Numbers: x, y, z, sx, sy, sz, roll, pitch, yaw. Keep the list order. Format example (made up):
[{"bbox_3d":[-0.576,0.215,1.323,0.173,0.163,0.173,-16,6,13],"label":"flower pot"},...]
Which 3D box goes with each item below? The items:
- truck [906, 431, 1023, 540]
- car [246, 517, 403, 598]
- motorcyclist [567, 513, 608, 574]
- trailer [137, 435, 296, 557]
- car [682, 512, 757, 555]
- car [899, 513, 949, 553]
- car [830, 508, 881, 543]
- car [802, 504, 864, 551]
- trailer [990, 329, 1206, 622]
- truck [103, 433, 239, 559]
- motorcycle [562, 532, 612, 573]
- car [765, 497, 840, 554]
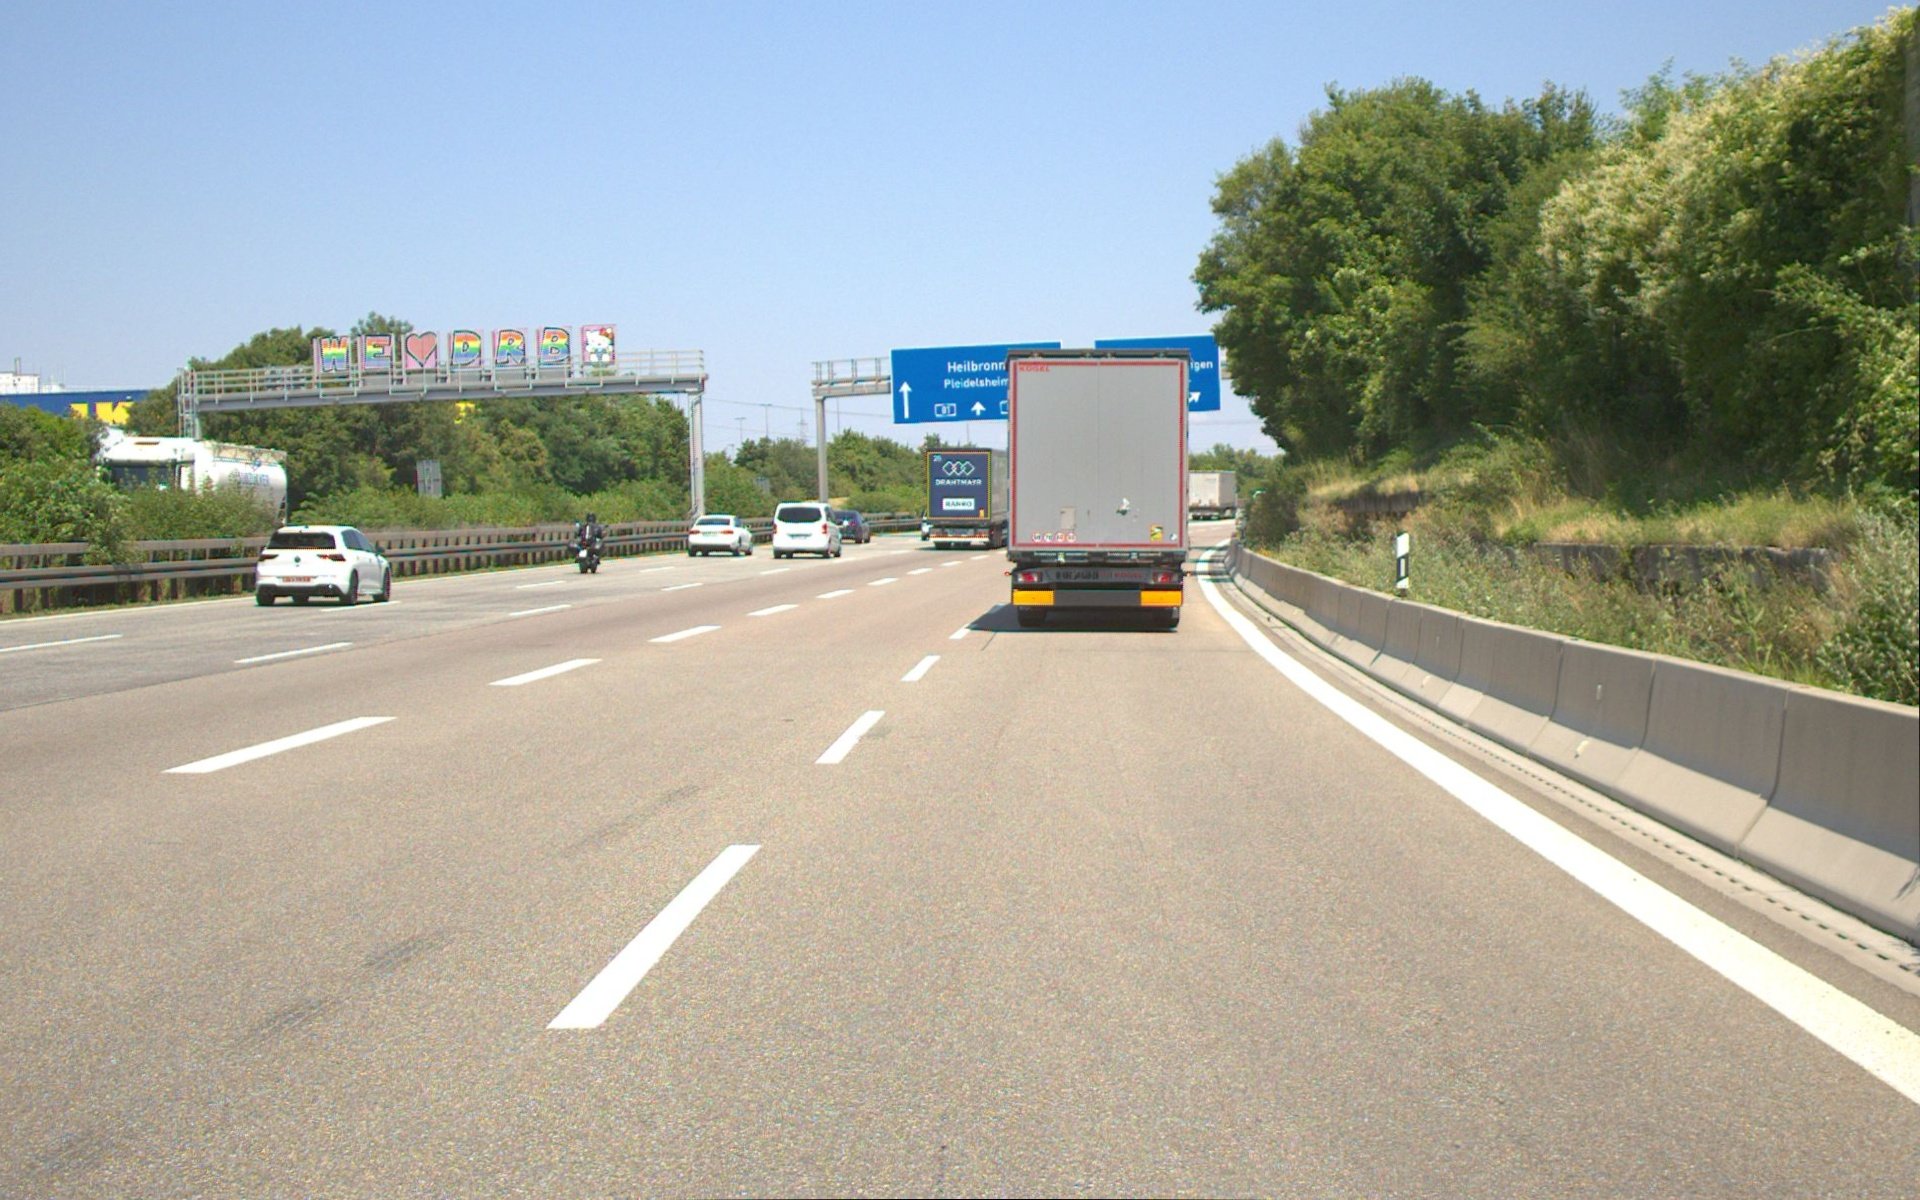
[{"bbox_3d":[0.317,-4.705,141.948,3.747,4.255,14.494,0,2,4],"label":"truck"},{"bbox_3d":[-11.649,-0.799,63.314,1.782,1.435,4.668,0,1,3],"label":"car"},{"bbox_3d":[-9.935,-1.507,91.754,0.893,1.591,1.299,0,0,3],"label":"motorcyclist"},{"bbox_3d":[-24.586,-3.430,114.195,2.690,3.875,9.734,0,2,3],"label":"trailer"},{"bbox_3d":[-8.414,-2.319,120.579,1.877,1.435,5.125,0,0,5],"label":"car"},{"bbox_3d":[-1.725,-3.254,165.913,1.905,1.845,4.630,-1,2,5],"label":"car"},{"bbox_3d":[-4.678,-3.322,154.411,1.757,1.404,5.038,-1,-1,4],"label":"car"},{"bbox_3d":[-5.077,-2.894,137.688,1.877,1.800,5.125,0,0,5],"label":"car"},{"bbox_3d":[2.160,-1.855,53.781,2.928,4.001,12.038,-1,1,2],"label":"trailer"},{"bbox_3d":[-24.922,-3.289,108.788,2.695,3.875,5.745,0,1,3],"label":"truck"},{"bbox_3d":[-9.941,-1.256,91.789,0.913,1.085,2.849,0,0,2],"label":"motorcycle"},{"bbox_3d":[-5.313,-2.531,116.280,1.931,1.845,4.692,-1,1,4],"label":"car"}]
